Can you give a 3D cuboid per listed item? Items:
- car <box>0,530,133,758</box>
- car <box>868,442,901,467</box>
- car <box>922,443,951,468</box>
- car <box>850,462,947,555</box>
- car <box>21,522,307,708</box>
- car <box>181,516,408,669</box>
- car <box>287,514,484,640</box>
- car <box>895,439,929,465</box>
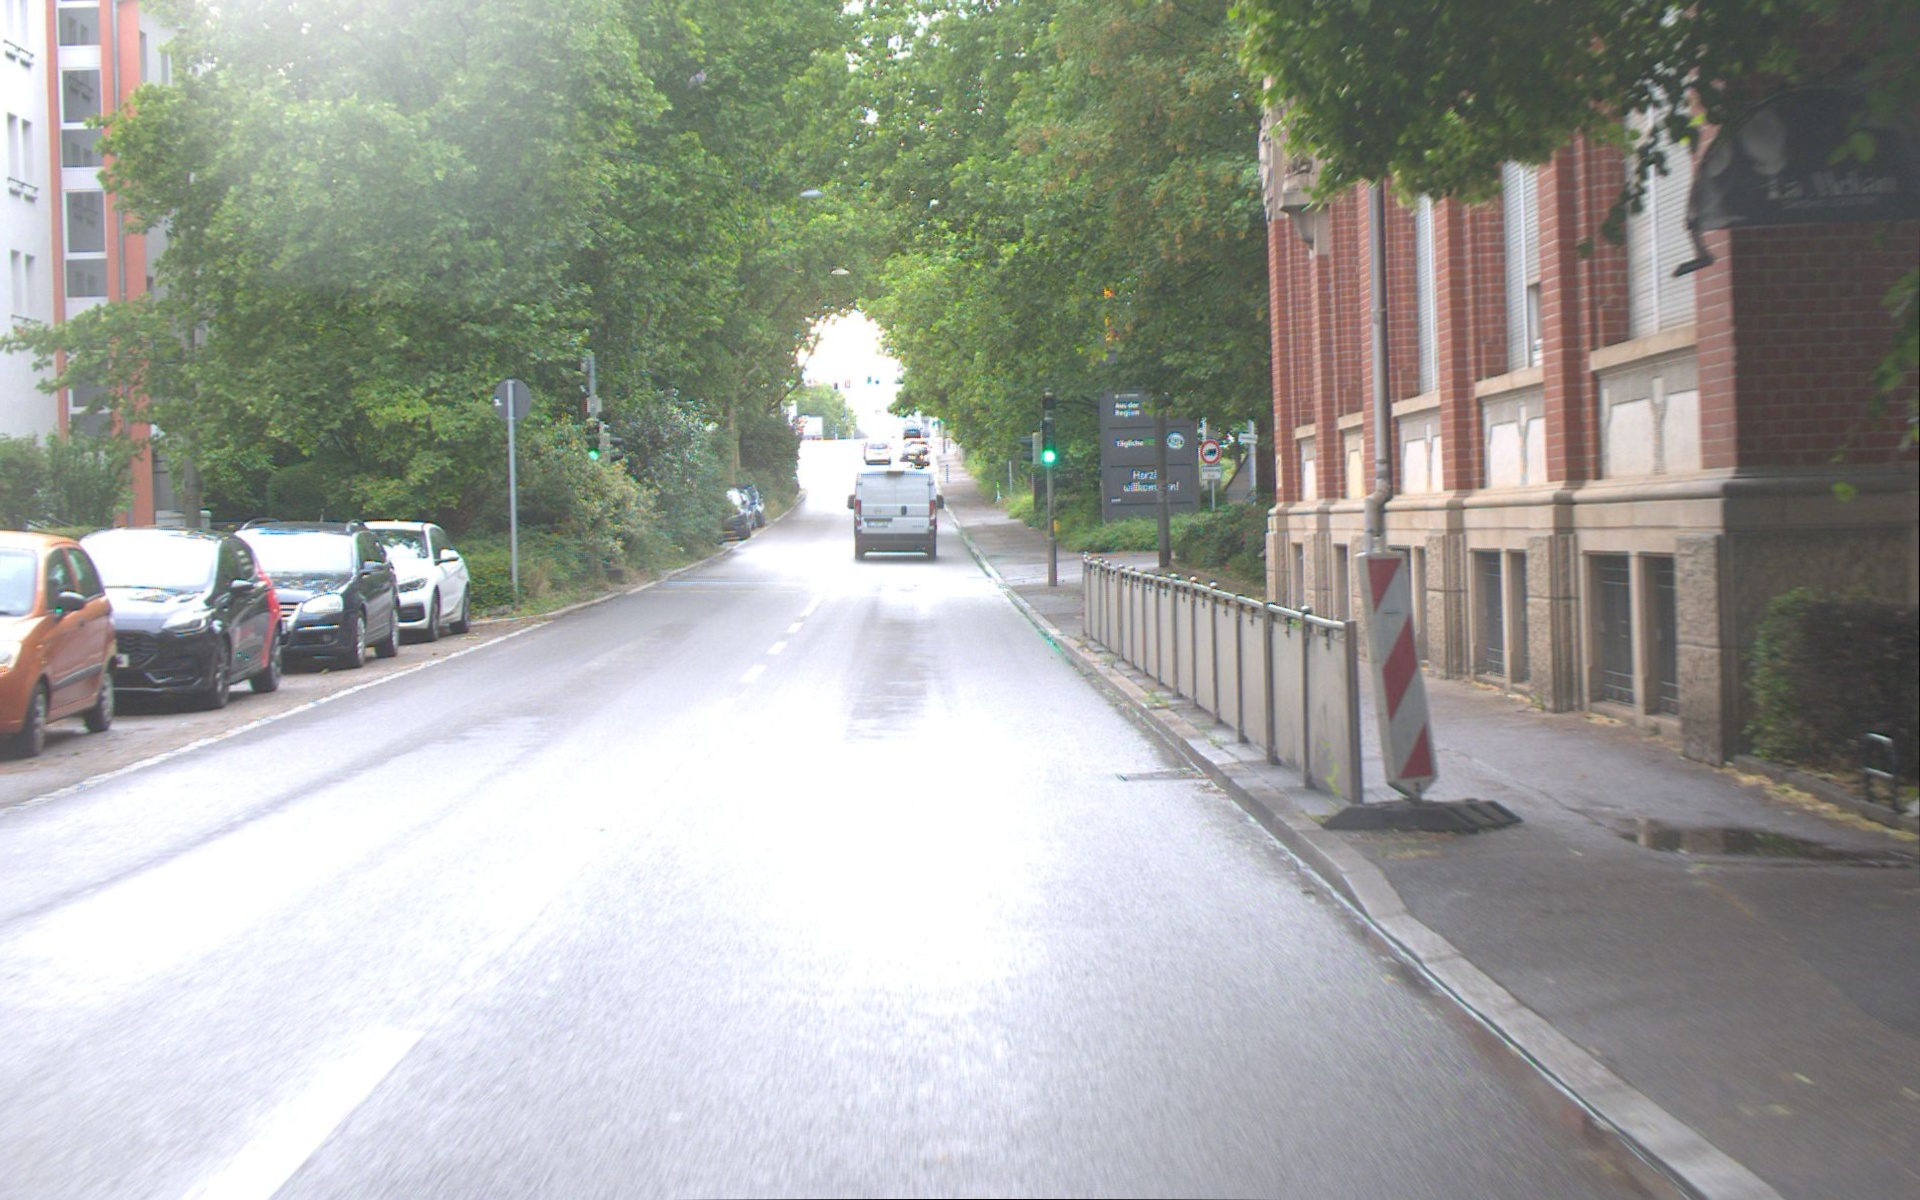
[{"bbox_3d":[-6.955,0.260,24.190,1.555,1.462,3.397,0,2,-2],"label":"car"},{"bbox_3d":[-5.521,-10.653,252.019,2.159,1.703,3.873,1,1,3],"label":"car"},{"bbox_3d":[-1.716,-10.605,252.080,1.930,1.703,3.873,1,1,3],"label":"car"},{"bbox_3d":[-1.504,-2.261,85.856,2.336,2.223,4.000,1,1,0],"label":"car"},{"bbox_3d":[-6.784,0.078,29.659,1.716,1.462,3.756,0,2,-2],"label":"car"},{"bbox_3d":[-6.836,-0.127,35.672,1.716,1.462,4.234,0,2,-3],"label":"car"},{"bbox_3d":[-7.058,-0.325,42.629,1.717,1.462,4.310,0,2,0],"label":"car"},{"bbox_3d":[-3.388,-10.519,243.911,2.149,1.703,3.873,1,1,3],"label":"car"}]
